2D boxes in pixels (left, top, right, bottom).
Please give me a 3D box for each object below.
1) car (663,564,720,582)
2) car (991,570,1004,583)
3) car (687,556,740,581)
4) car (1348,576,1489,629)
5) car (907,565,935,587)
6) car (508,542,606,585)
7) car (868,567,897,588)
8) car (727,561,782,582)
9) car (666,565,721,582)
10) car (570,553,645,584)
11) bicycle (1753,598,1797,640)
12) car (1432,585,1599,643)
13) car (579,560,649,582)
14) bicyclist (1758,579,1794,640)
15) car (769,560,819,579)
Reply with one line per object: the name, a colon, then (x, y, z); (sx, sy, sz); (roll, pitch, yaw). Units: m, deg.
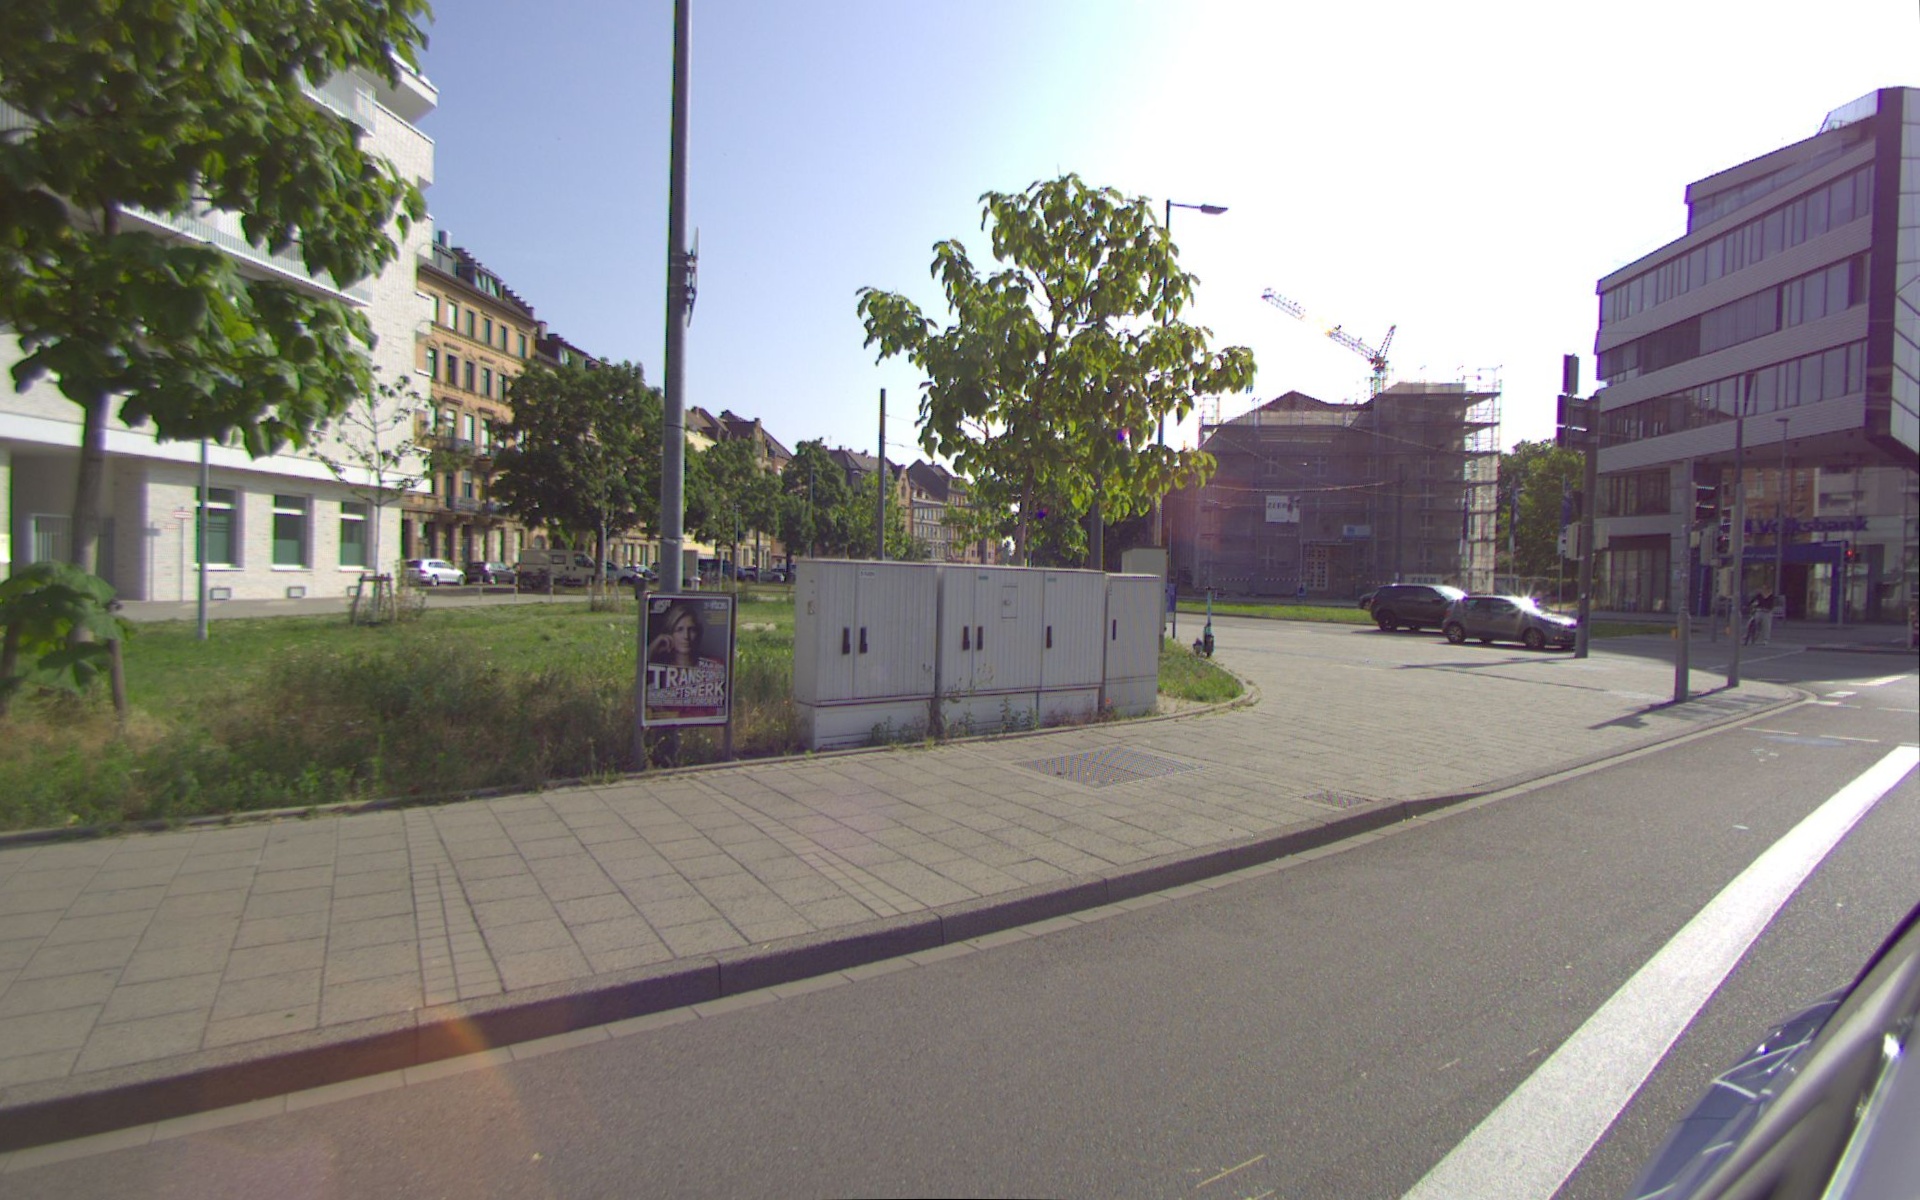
car: (-19.765, -2.008, 74.537); (3.778, 1.264, 1.724); (0, 1, -29)
car: (6.328, -4.004, 170.027); (1.964, 2.002, 3.998); (0, 3, 4)
car: (-19.540, -2.500, 80.361); (3.777, 1.828, 1.789); (0, 1, -26)
car: (16.033, 0.052, 35.567); (1.767, 1.698, 4.225); (1, 1, -31)
car: (-3.612, -2.242, 94.164); (1.965, 2.038, 3.994); (1, 2, 6)
car: (-22.233, -2.002, 55.986); (4.941, 2.205, 1.884); (0, 1, -22)
car: (-6.069, -1.764, 79.598); (1.962, 1.580, 3.876); (0, 1, 0)
car: (-18.885, -2.619, 93.020); (4.639, 1.787, 1.725); (2, 1, -21)
car: (-20.181, -2.012, 76.672); (3.778, 1.264, 1.724); (0, 1, -29)
car: (-20.757, -1.842, 59.652); (3.904, 1.727, 1.883); (0, 1, -29)
bicycle: (23.607, 0.529, 29.313); (1.773, 1.111, 0.669); (-2, 3, -41)
car: (15.851, 0.344, 29.078); (1.612, 1.436, 3.900); (0, 2, -30)
car: (-21.148, -1.741, 61.880); (3.778, 1.264, 1.724); (0, 1, -29)
bicyclist: (23.675, 0.252, 29.370); (0.626, 1.723, 0.669); (-2, 3, -41)
car: (-17.454, -3.204, 106.496); (4.831, 1.861, 1.723); (2, 1, -34)
